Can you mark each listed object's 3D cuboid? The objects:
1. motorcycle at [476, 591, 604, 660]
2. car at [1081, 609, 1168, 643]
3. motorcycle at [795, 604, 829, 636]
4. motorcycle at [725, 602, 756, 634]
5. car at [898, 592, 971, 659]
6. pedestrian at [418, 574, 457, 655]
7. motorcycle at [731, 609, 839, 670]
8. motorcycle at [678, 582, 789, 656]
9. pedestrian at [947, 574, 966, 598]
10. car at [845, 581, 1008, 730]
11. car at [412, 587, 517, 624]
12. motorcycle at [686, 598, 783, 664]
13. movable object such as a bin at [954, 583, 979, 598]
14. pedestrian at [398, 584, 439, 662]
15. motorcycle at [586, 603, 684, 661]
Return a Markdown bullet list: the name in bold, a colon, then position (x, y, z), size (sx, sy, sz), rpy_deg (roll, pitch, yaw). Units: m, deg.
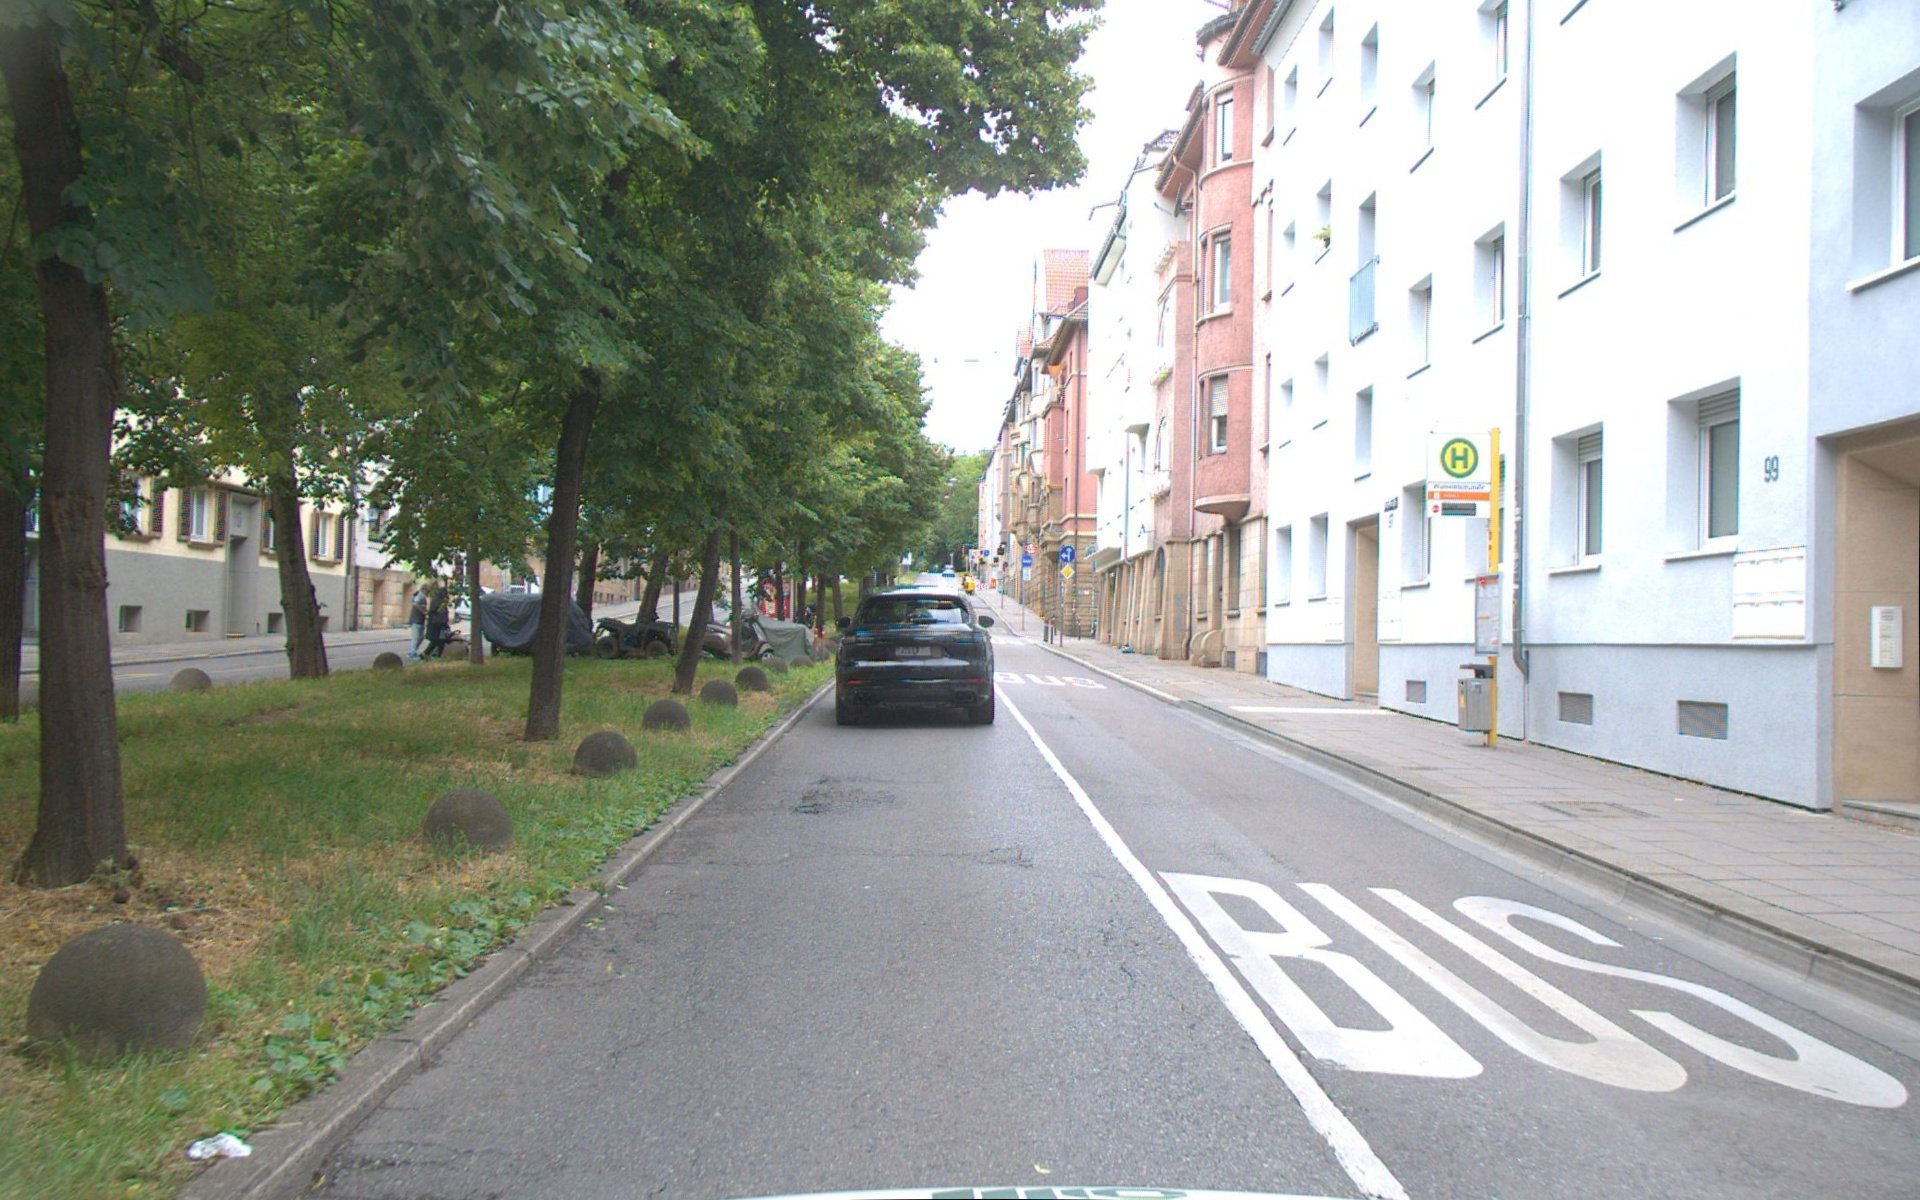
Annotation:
- **motorcycle**: position (-8.588, 0.508, 33.929), size (2.334, 1.340, 1.045), rpy_deg (1, 0, -3)
- **car**: position (7.229, 1.114, 72.328), size (1.962, 1.400, 3.981), rpy_deg (0, 0, 38)
- **motorcycle**: position (-5.484, 0.724, 61.277), size (1.041, 1.168, 2.447), rpy_deg (0, 0, -1)
- **motorcycle**: position (-8.099, 0.689, 61.095), size (0.882, 1.126, 2.250), rpy_deg (0, -2, -1)
- **car**: position (-0.711, 0.690, 47.095), size (1.953, 1.784, 3.999), rpy_deg (1, 0, -1)
- **pedestrian**: position (-10.946, 0.296, 34.672), size (0.623, 1.641, 0.762), rpy_deg (2, 0, -10)
- **motorcycle**: position (-3.871, 0.870, 36.776), size (2.308, 1.257, 1.033), rpy_deg (1, 2, -3)
- **motorcycle**: position (-4.752, 0.395, 34.813), size (2.149, 1.464, 0.874), rpy_deg (2, 0, 1)
- **pedestrian**: position (-0.307, -1.204, 142.104), size (1.292, 2.049, 1.006), rpy_deg (2, 0, -38)
- **car**: position (-0.478, 0.648, 21.342), size (1.865, 1.695, 4.133), rpy_deg (1, 0, -3)
- **car**: position (-21.402, 0.237, 71.591), size (3.906, 1.523, 2.000), rpy_deg (1, 0, -1)
- **motorcycle**: position (-4.636, 0.648, 34.070), size (1.886, 1.319, 0.893), rpy_deg (1, -2, -3)
- **movable object such as a bin**: position (0.535, -0.811, 141.017), size (1.230, 1.296, 1.819), rpy_deg (2, 0, -40)
- **pedestrian**: position (-11.682, 0.488, 35.679), size (0.649, 1.644, 0.579), rpy_deg (2, 0, 1)
- **motorcycle**: position (-7.312, 0.712, 37.262), size (1.986, 1.257, 0.897), rpy_deg (1, 0, 4)
